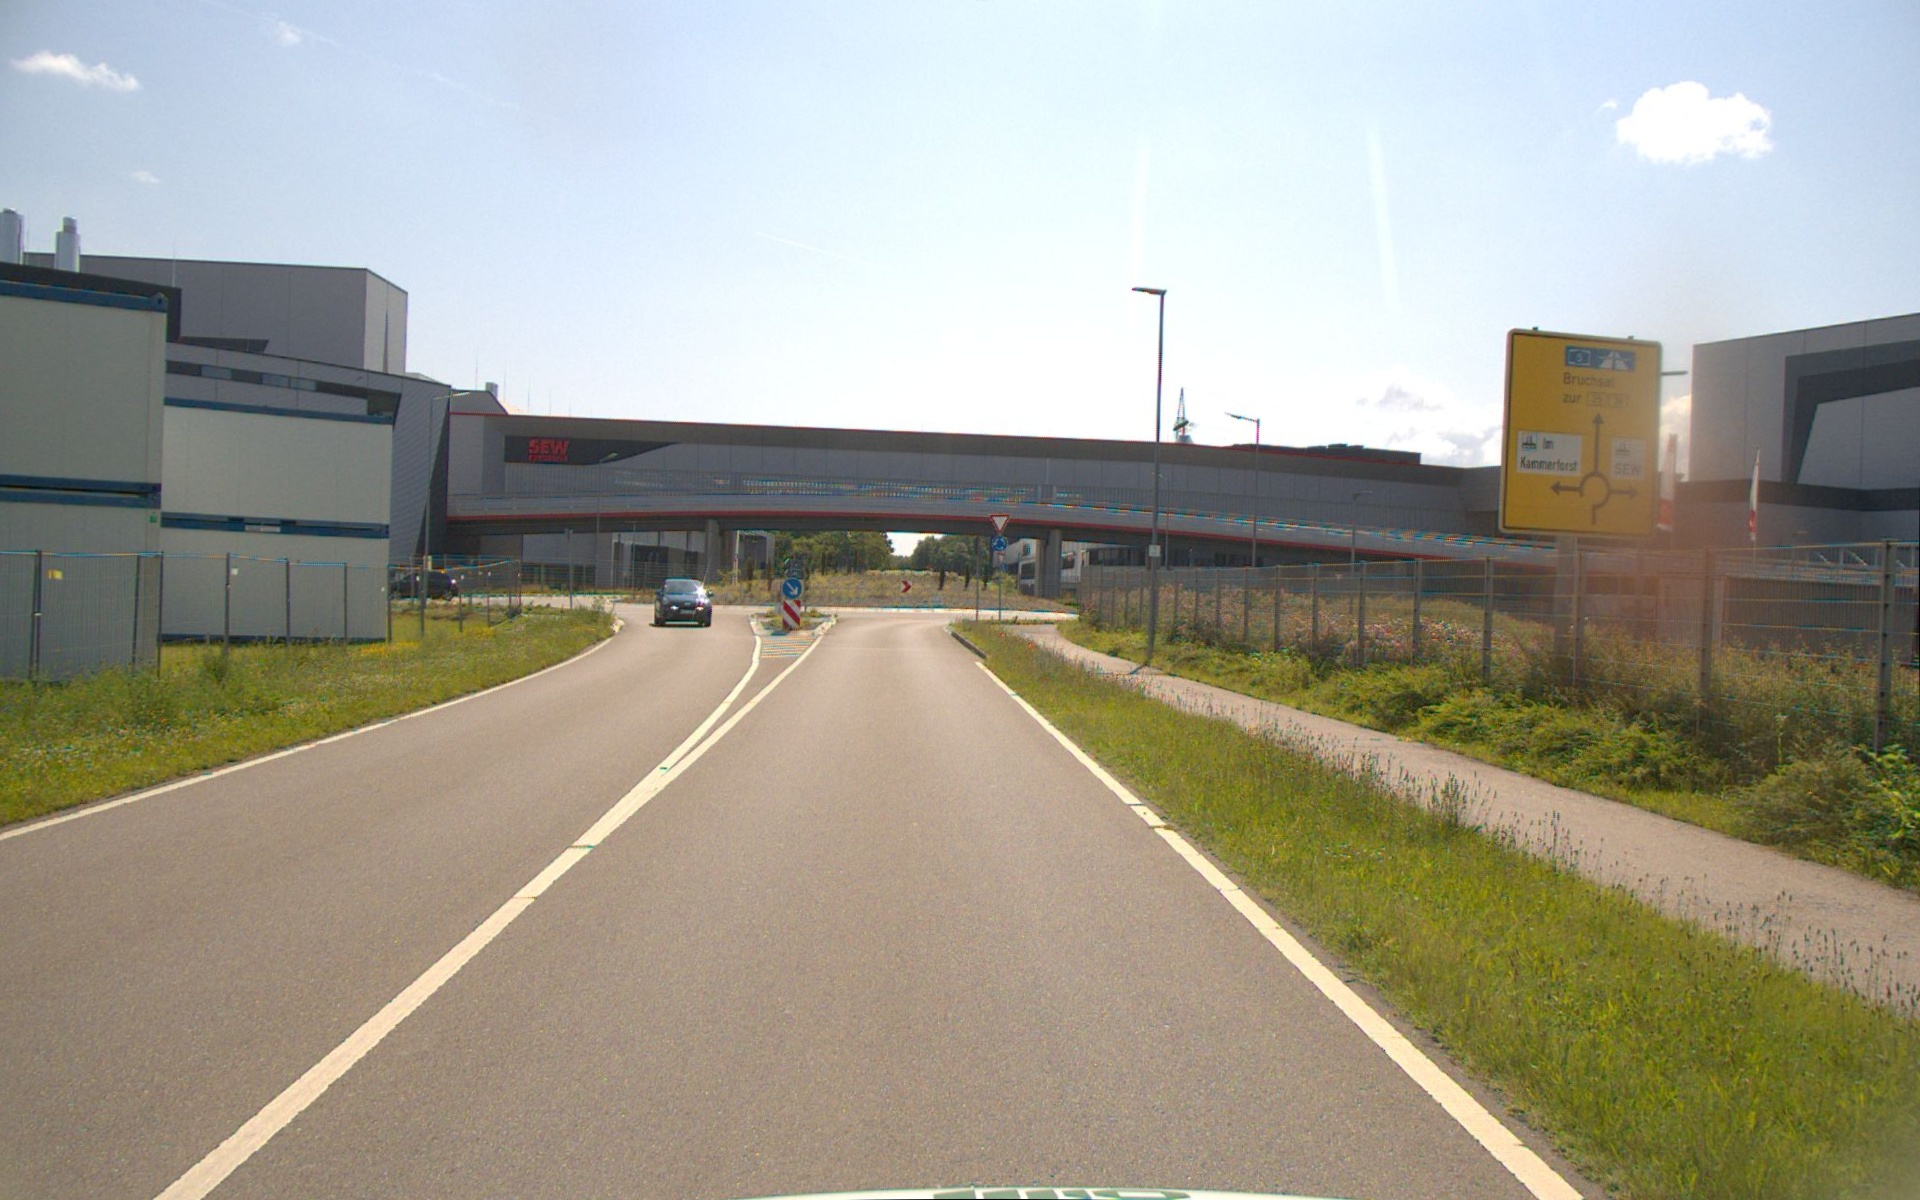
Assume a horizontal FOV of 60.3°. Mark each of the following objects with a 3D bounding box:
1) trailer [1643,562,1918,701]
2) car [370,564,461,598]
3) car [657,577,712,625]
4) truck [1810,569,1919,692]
[{"bbox_3d":[29.495,1.076,58.951,13.907,4.515,2.731,1,0,-36],"label":"trailer"},{"bbox_3d":[-26.352,-0.901,80.201,1.955,1.612,3.995,1,0,27],"label":"car"},{"bbox_3d":[-9.113,0.021,54.462,1.672,1.507,3.989,1,0,-11],"label":"car"},{"bbox_3d":[35.098,1.139,63.093,5.232,4.500,2.731,1,0,-36],"label":"truck"}]
